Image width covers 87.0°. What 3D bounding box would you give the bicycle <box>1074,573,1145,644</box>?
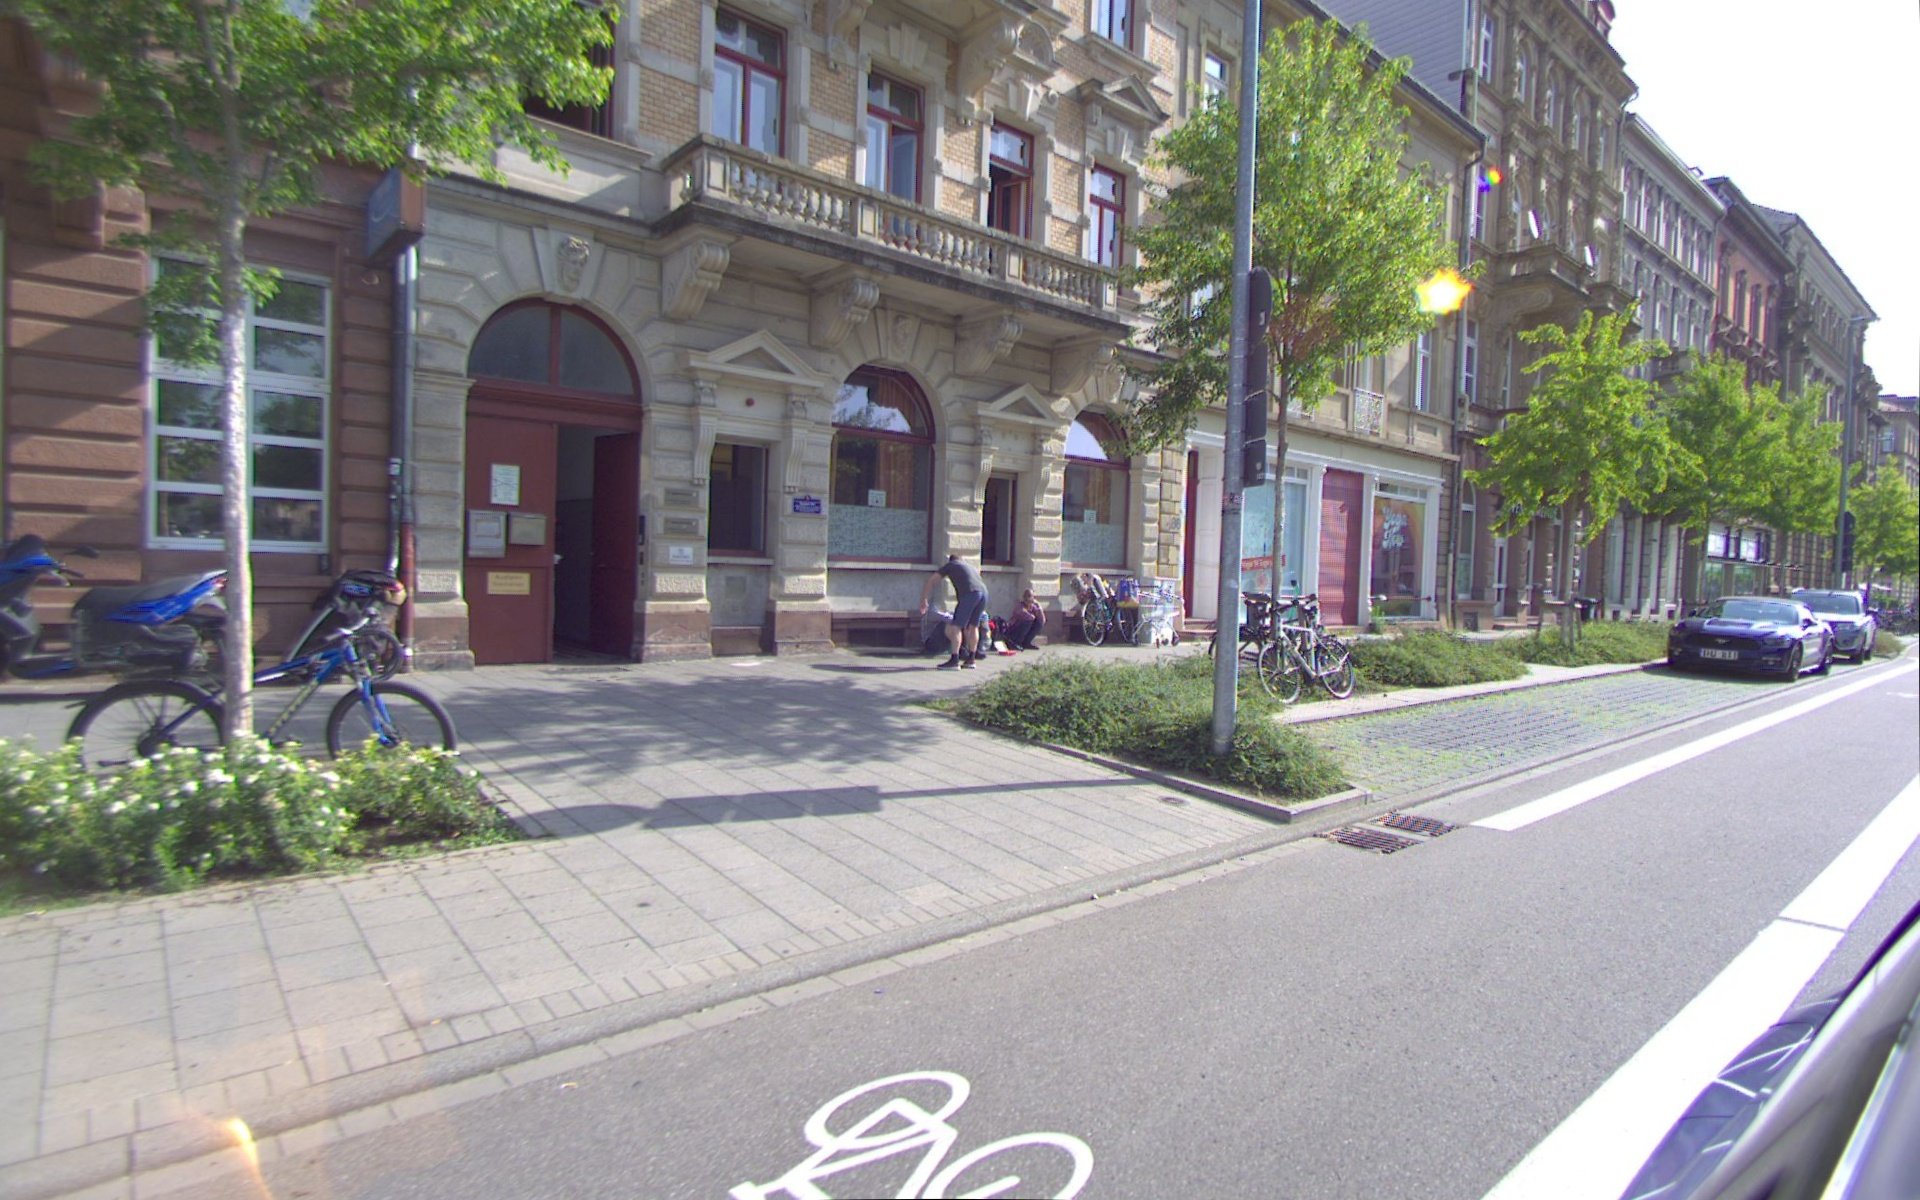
[{"bbox_3d":[2.450,0.117,16.485,0.450,1.097,1.427,2,2,39],"label":"bicycle"}]

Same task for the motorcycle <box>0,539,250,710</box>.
[{"bbox_3d":[-6.536,0.165,7.619,1.911,1.189,0.464,0,4,-41],"label":"motorcycle"}]

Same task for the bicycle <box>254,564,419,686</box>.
[{"bbox_3d":[-5.583,0.209,9.079,1.231,1.031,0.398,0,2,-36],"label":"bicycle"}]

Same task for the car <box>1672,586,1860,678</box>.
[{"bbox_3d":[14.941,0.524,18.670,4.630,1.413,1.741,0,3,-40],"label":"car"}]

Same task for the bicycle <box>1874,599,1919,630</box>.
[{"bbox_3d":[35.725,0.543,38.148,0.366,1.066,1.788,1,4,-42],"label":"bicycle"}]

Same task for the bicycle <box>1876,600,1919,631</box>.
[{"bbox_3d":[36.023,0.595,38.411,0.366,1.066,1.788,1,4,-42],"label":"bicycle"}]

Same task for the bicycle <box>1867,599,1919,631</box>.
[{"bbox_3d":[36.725,0.583,39.541,1.808,1.109,0.661,6,4,44],"label":"bicycle"}]

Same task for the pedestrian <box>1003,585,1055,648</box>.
[{"bbox_3d":[1.006,0.230,14.785,0.570,0.865,0.450,6,4,44],"label":"pedestrian"}]

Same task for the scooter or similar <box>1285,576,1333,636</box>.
[{"bbox_3d":[6.838,0.113,19.819,1.068,1.148,0.290,1,1,-35],"label":"scooter or similar"}]

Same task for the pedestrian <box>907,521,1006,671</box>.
[{"bbox_3d":[-0.041,-0.066,12.299,0.780,1.717,0.824,0,4,-45],"label":"pedestrian"}]

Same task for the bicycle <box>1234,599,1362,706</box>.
[{"bbox_3d":[3.840,0.550,11.423,1.794,1.107,0.493,0,2,-41],"label":"bicycle"}]

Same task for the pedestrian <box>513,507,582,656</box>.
[{"bbox_3d":[-4.811,-0.221,11.811,0.482,1.678,0.563,2,1,37],"label":"pedestrian"}]

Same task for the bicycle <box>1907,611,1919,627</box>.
[{"bbox_3d":[39.235,0.788,41.178,0.354,0.617,0.960,0,4,-39],"label":"bicycle"}]

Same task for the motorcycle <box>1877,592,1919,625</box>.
[{"bbox_3d":[39.747,0.380,42.249,2.012,1.302,0.702,4,2,14],"label":"motorcycle"}]

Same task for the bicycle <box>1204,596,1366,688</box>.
[{"bbox_3d":[4.014,0.509,12.569,1.842,1.095,0.455,0,2,2],"label":"bicycle"}]

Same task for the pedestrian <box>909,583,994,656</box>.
[{"bbox_3d":[-0.118,0.246,13.541,0.699,0.887,0.878,0,4,-44],"label":"pedestrian"}]

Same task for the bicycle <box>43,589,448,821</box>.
[{"bbox_3d":[-3.692,0.521,5.394,1.678,1.073,0.507,2,3,-26],"label":"bicycle"}]

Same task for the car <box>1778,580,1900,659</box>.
[{"bbox_3d":[20.580,0.405,23.649,4.178,1.607,1.771,0,3,-45],"label":"car"}]

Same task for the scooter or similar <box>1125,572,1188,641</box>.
[{"bbox_3d":[3.357,0.105,17.291,0.915,1.139,0.608,0,2,-41],"label":"scooter or similar"}]
